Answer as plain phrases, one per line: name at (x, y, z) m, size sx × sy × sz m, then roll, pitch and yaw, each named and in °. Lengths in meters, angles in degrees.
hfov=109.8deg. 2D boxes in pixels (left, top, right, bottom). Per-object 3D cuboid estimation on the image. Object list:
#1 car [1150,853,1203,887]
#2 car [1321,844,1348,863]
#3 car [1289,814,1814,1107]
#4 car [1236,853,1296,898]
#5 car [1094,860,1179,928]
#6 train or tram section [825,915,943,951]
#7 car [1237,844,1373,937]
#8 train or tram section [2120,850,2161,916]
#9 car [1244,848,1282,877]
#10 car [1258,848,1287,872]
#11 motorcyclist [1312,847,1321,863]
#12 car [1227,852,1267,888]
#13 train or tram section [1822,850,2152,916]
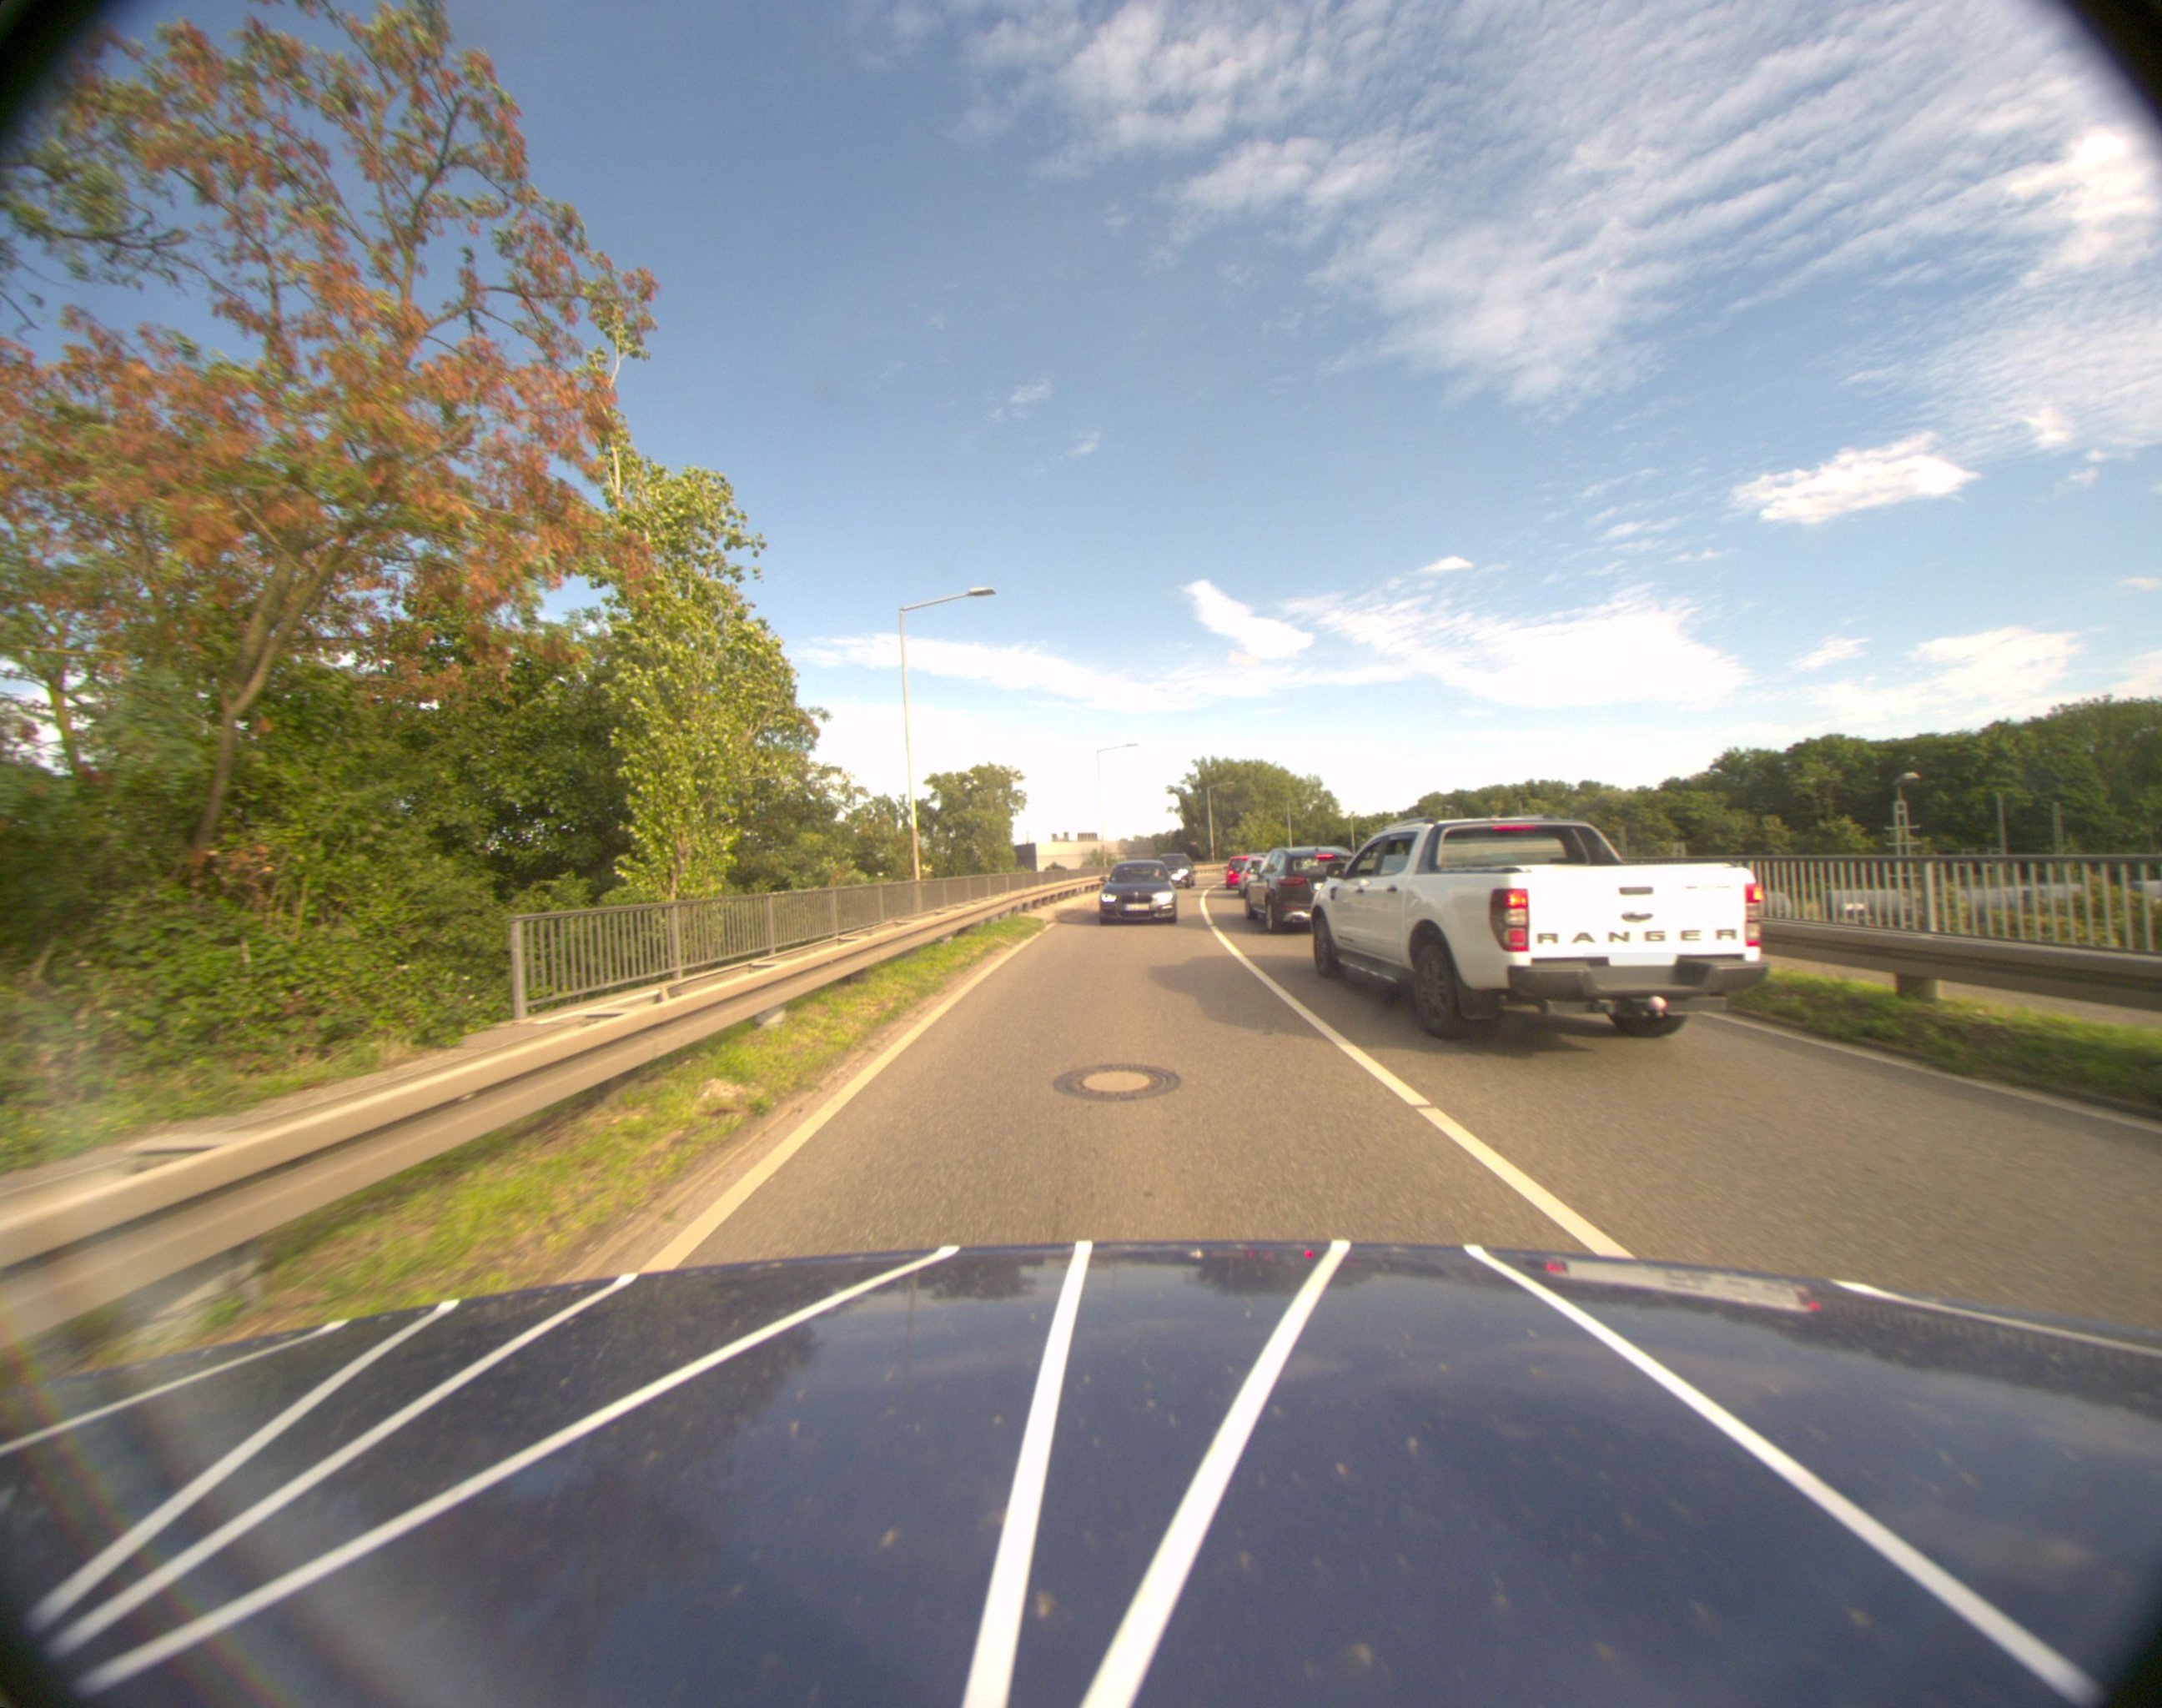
car at (4.676, 0.723, 36.720) m, size 1.816 × 1.498 × 4.396 m, roll -1°, pitch 0°, yaw 17°
car at (26.805, -0.077, 80.239) m, size 2.009 × 1.892 × 4.876 m, roll -1°, pitch 0°, yaw 27°
car at (3.715, 0.666, 7.507) m, size 1.905 × 1.800 × 5.404 m, roll -2°, pitch 0°, yaw 1°
car at (6.441, 0.694, 26.786) m, size 1.735 × 1.447 × 4.268 m, roll 0°, pitch 0°, yaw 10°
car at (1.404, 0.877, 18.368) m, size 1.785 × 1.396 × 3.972 m, roll -1°, pitch 0°, yaw 6°
train or tram section at (-26.352, 10.415, 101.077) m, size 17.259 × 4.121 × 3.102 m, roll -2°, pitch 1°, yaw 26°
car at (4.496, 0.653, 15.952) m, size 1.893 × 1.639 × 4.644 m, roll -1°, pitch 0°, yaw 6°
train or tram section at (84.721, 1.874, 51.774) m, size 16.706 × 4.685 × 3.102 m, roll -2°, pitch 1°, yaw 28°
car at (11.323, 0.499, 47.046) m, size 1.928 × 1.639 × 4.594 m, roll -1°, pitch 0°, yaw 17°
car at (13.763, 0.416, 54.557) m, size 1.683 × 1.639 × 4.304 m, roll -1°, pitch 0°, yaw 18°
motorcyclist at (22.383, 0.116, 72.246) m, size 0.620 × 1.544 × 0.939 m, roll -1°, pitch 1°, yaw 30°
car at (7.313, 0.661, 33.463) m, size 1.601 × 1.456 × 3.740 m, roll -1°, pitch 0°, yaw 12°
train or tram section at (69.840, 2.317, 59.509) m, size 16.707 × 4.685 × 3.102 m, roll -2°, pitch 1°, yaw 27°
